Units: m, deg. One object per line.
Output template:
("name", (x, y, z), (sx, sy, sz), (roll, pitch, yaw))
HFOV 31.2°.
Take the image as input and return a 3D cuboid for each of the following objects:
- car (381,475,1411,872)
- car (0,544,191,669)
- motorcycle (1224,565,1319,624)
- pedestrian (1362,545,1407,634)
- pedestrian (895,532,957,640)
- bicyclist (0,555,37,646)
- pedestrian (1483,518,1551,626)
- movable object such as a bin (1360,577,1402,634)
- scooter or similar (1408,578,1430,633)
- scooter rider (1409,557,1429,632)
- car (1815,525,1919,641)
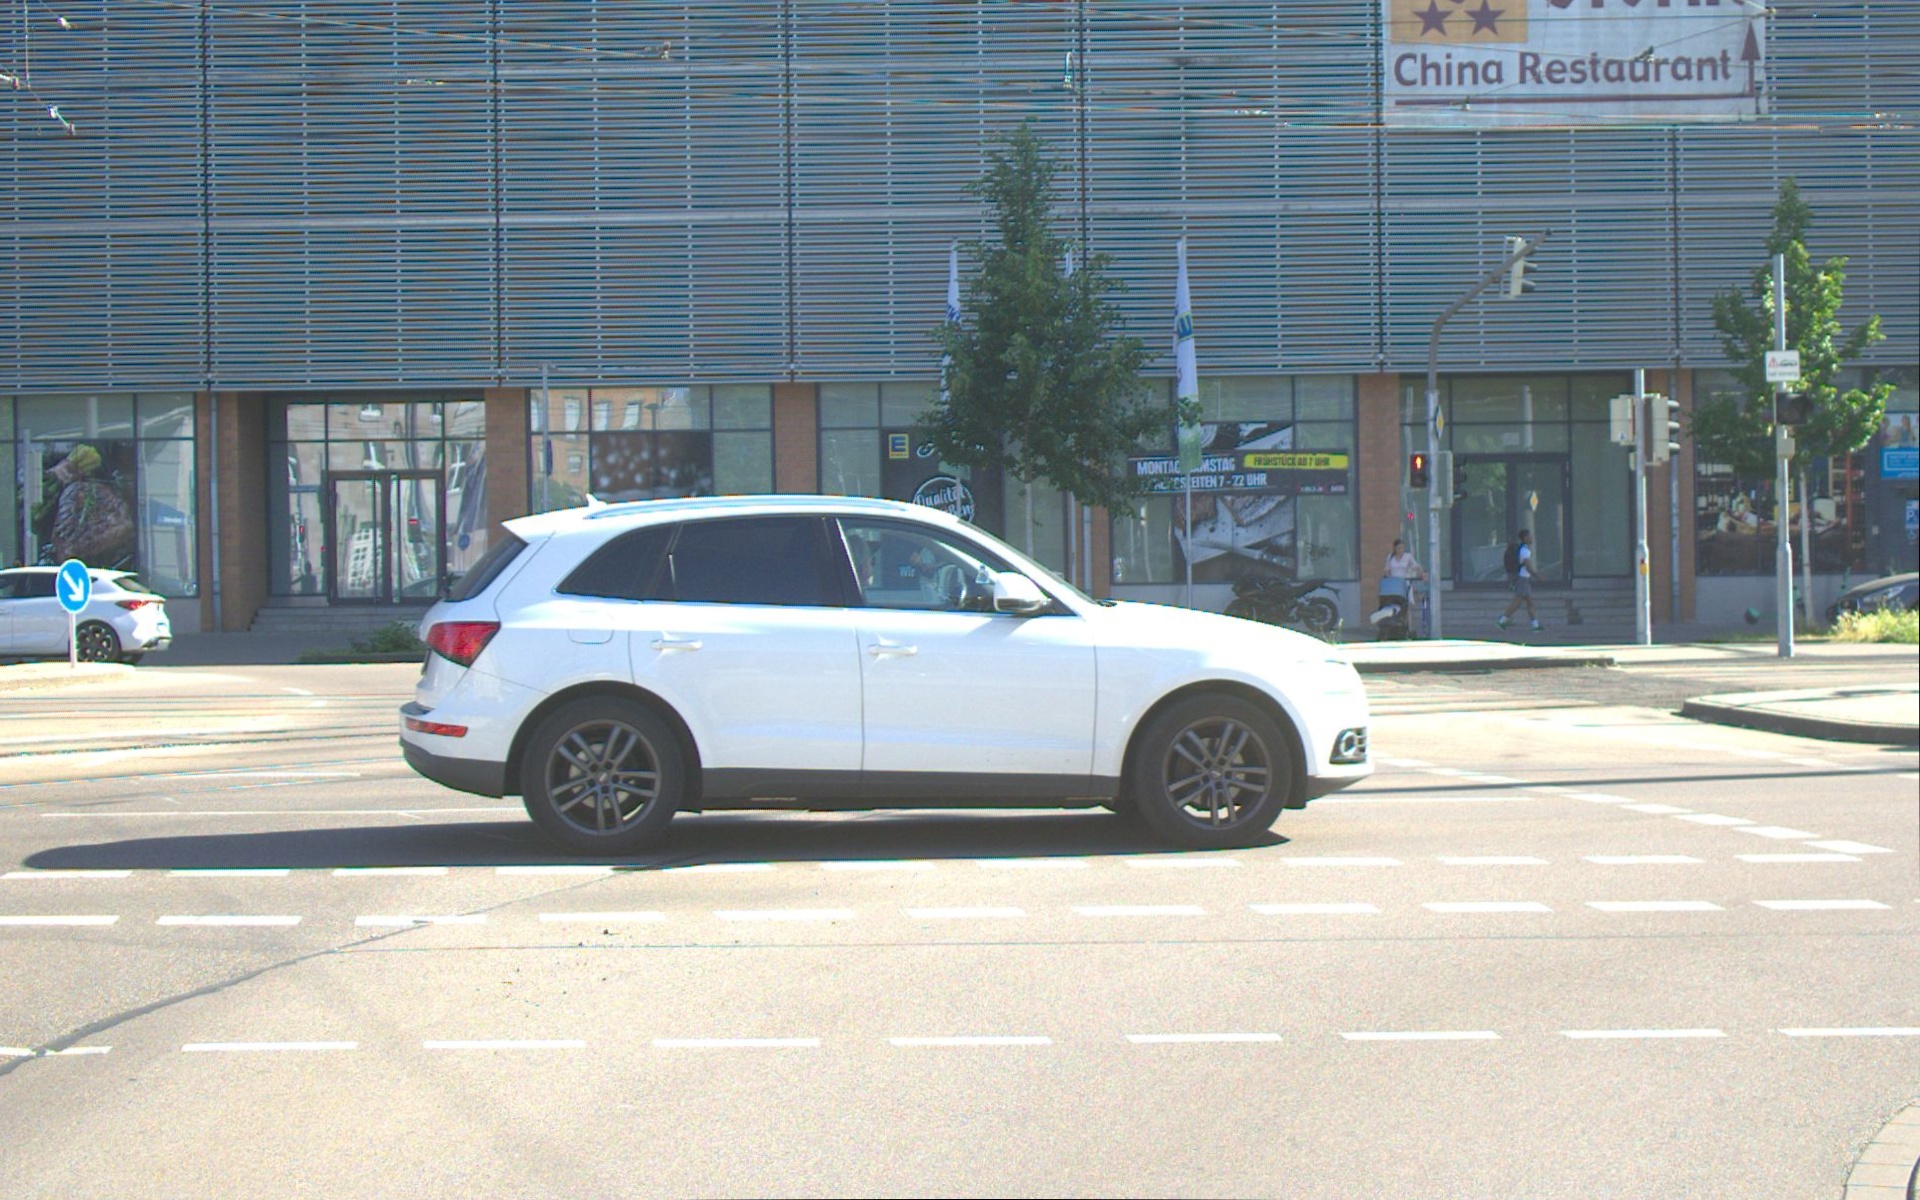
("car", (-0.372, 0.298, 16.526), (4.667, 1.701, 1.938), (-1, 1, -8))
("car", (-13.394, 0.039, 49.205), (4.289, 1.639, 1.841), (3, 0, -1))
("motorcycle", (5.496, -0.099, 60.636), (1.640, 1.001, 0.446), (1, 1, 6))
("pedestrian", (6.833, -0.174, 55.269), (0.655, 1.409, 0.849), (1, 0, 10))
("pedestrian", (-0.589, -0.236, 59.722), (0.950, 1.822, 0.845), (-2, -3, 5))
("bicyclist", (-15.277, 0.005, 54.781), (0.675, 1.422, 0.847), (1, 3, 43))
("pedestrian", (9.604, -0.488, 59.329), (1.012, 1.822, 1.035), (-2, 1, 3))
("movable object such as a bin", (6.714, 0.081, 54.808), (0.613, 0.901, 0.968), (1, 0, 10))
("scooter or similar", (7.353, 0.078, 55.091), (0.295, 0.870, 1.003), (1, 0, 10))
("scooter rider", (7.346, -0.085, 55.029), (0.288, 1.196, 0.385), (1, 0, 10))
("car", (13.756, -0.141, 45.846), (4.146, 1.464, 1.841), (3, 0, -1))
